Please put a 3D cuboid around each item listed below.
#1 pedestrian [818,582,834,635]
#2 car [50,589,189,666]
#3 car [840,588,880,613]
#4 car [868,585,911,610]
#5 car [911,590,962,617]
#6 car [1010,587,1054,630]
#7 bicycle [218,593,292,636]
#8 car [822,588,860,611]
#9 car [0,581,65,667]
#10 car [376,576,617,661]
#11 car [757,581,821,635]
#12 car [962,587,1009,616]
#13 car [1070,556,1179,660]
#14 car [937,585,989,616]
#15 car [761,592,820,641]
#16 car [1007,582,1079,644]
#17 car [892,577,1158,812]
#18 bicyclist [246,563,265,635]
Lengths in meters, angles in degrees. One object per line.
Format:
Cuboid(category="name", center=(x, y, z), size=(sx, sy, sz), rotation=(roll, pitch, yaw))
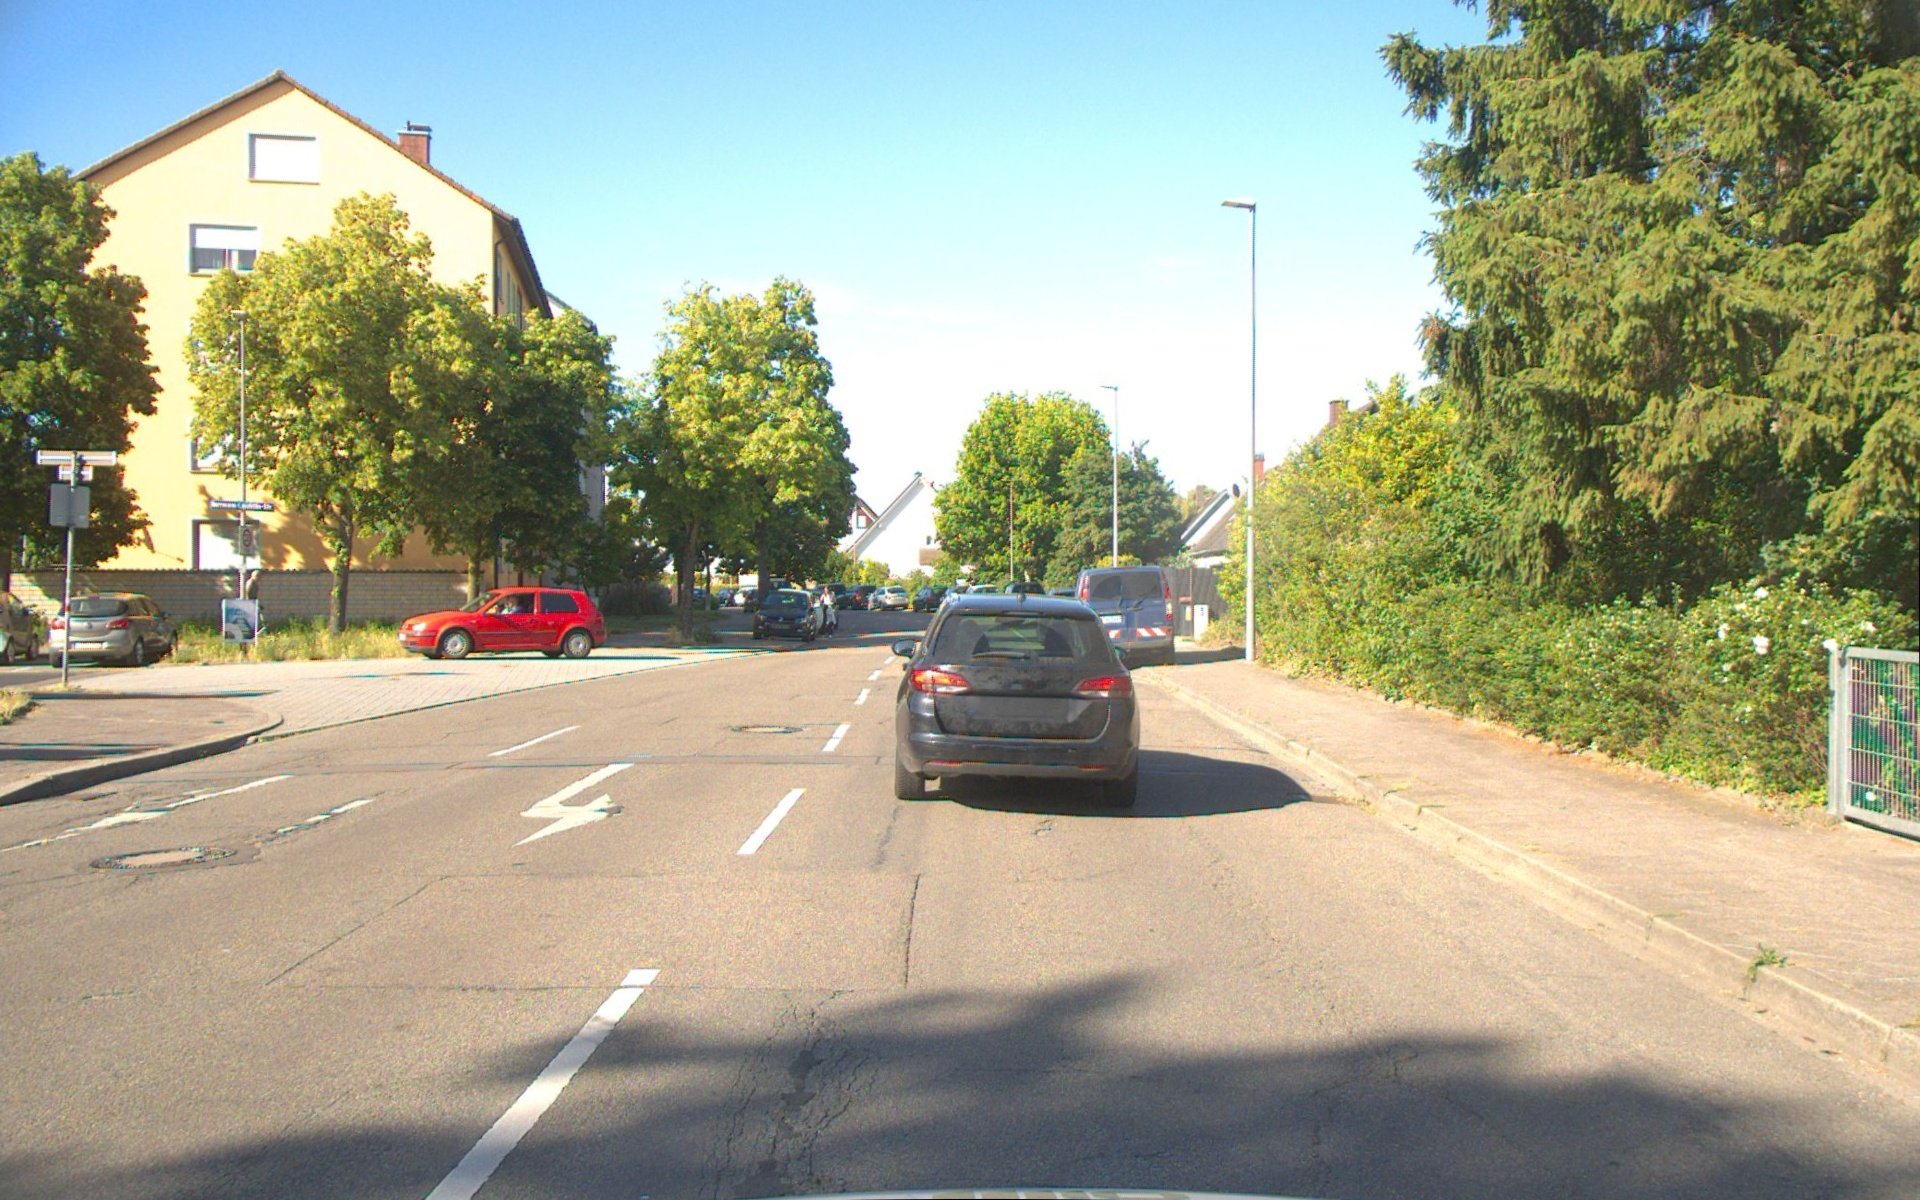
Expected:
Cuboid(category="pedestrian", center=(-4.528, 0.300, 56.055), size=(0.494, 1.792, 0.694), rotation=(-1, -2, -3))
Cuboid(category="car", center=(-17.871, 0.541, 35.327), size=(1.699, 1.489, 3.869), rotation=(0, 1, -12))
Cuboid(category="car", center=(-6.729, 0.045, 111.001), size=(1.791, 1.561, 4.240), rotation=(-1, 0, -16))
Cuboid(category="car", center=(-4.518, -0.138, 105.791), size=(1.791, 1.561, 4.240), rotation=(-1, 0, -16))
Cuboid(category="car", center=(-1.391, 0.210, 96.752), size=(1.973, 1.501, 4.276), rotation=(-1, 0, -15))
Cuboid(category="car", center=(3.054, 0.350, 70.915), size=(1.741, 1.754, 4.294), rotation=(-1, 0, 1))
Cuboid(category="bicycle", center=(-16.859, 0.339, 39.572), size=(1.601, 1.028, 0.402), rotation=(0, 0, -32))
Cuboid(category="car", center=(-8.380, -0.025, 116.391), size=(1.791, 1.561, 4.240), rotation=(-1, 0, -16))
Cuboid(category="car", center=(-20.843, 0.475, 35.822), size=(1.669, 1.650, 3.866), rotation=(0, 3, -15))
Cuboid(category="car", center=(-9.440, 0.349, 33.772), size=(4.343, 1.595, 1.994), rotation=(0, 1, -36))
Cuboid(category="car", center=(-5.117, 0.267, 49.835), size=(1.666, 1.506, 4.049), rotation=(2, -1, -3))
Cuboid(category="car", center=(1.305, 0.087, 86.799), size=(1.728, 1.506, 4.284), rotation=(-1, 0, -10))
Cuboid(category="car", center=(3.246, 0.131, 33.419), size=(1.799, 1.941, 4.698), rotation=(0, 0, 1))
Cuboid(category="car", center=(0.131, 0.045, 91.507), size=(1.879, 1.628, 4.278), rotation=(-1, 0, -14))
Cuboid(category="car", center=(-5.638, 0.583, 55.413), size=(1.666, 1.550, 4.050), rotation=(-1, -1, -2))
Cuboid(category="car", center=(2.158, 0.292, 44.097), size=(1.729, 1.506, 4.992), rotation=(-1, 1, 1))
Cuboid(category="car", center=(0.435, 0.628, 12.972), size=(1.725, 1.517, 4.291), rotation=(1, 0, 0))
Cuboid(category="bicyclist", center=(-16.864, -0.026, 39.588), size=(0.384, 1.715, 0.378), rotation=(0, -2, -31))
